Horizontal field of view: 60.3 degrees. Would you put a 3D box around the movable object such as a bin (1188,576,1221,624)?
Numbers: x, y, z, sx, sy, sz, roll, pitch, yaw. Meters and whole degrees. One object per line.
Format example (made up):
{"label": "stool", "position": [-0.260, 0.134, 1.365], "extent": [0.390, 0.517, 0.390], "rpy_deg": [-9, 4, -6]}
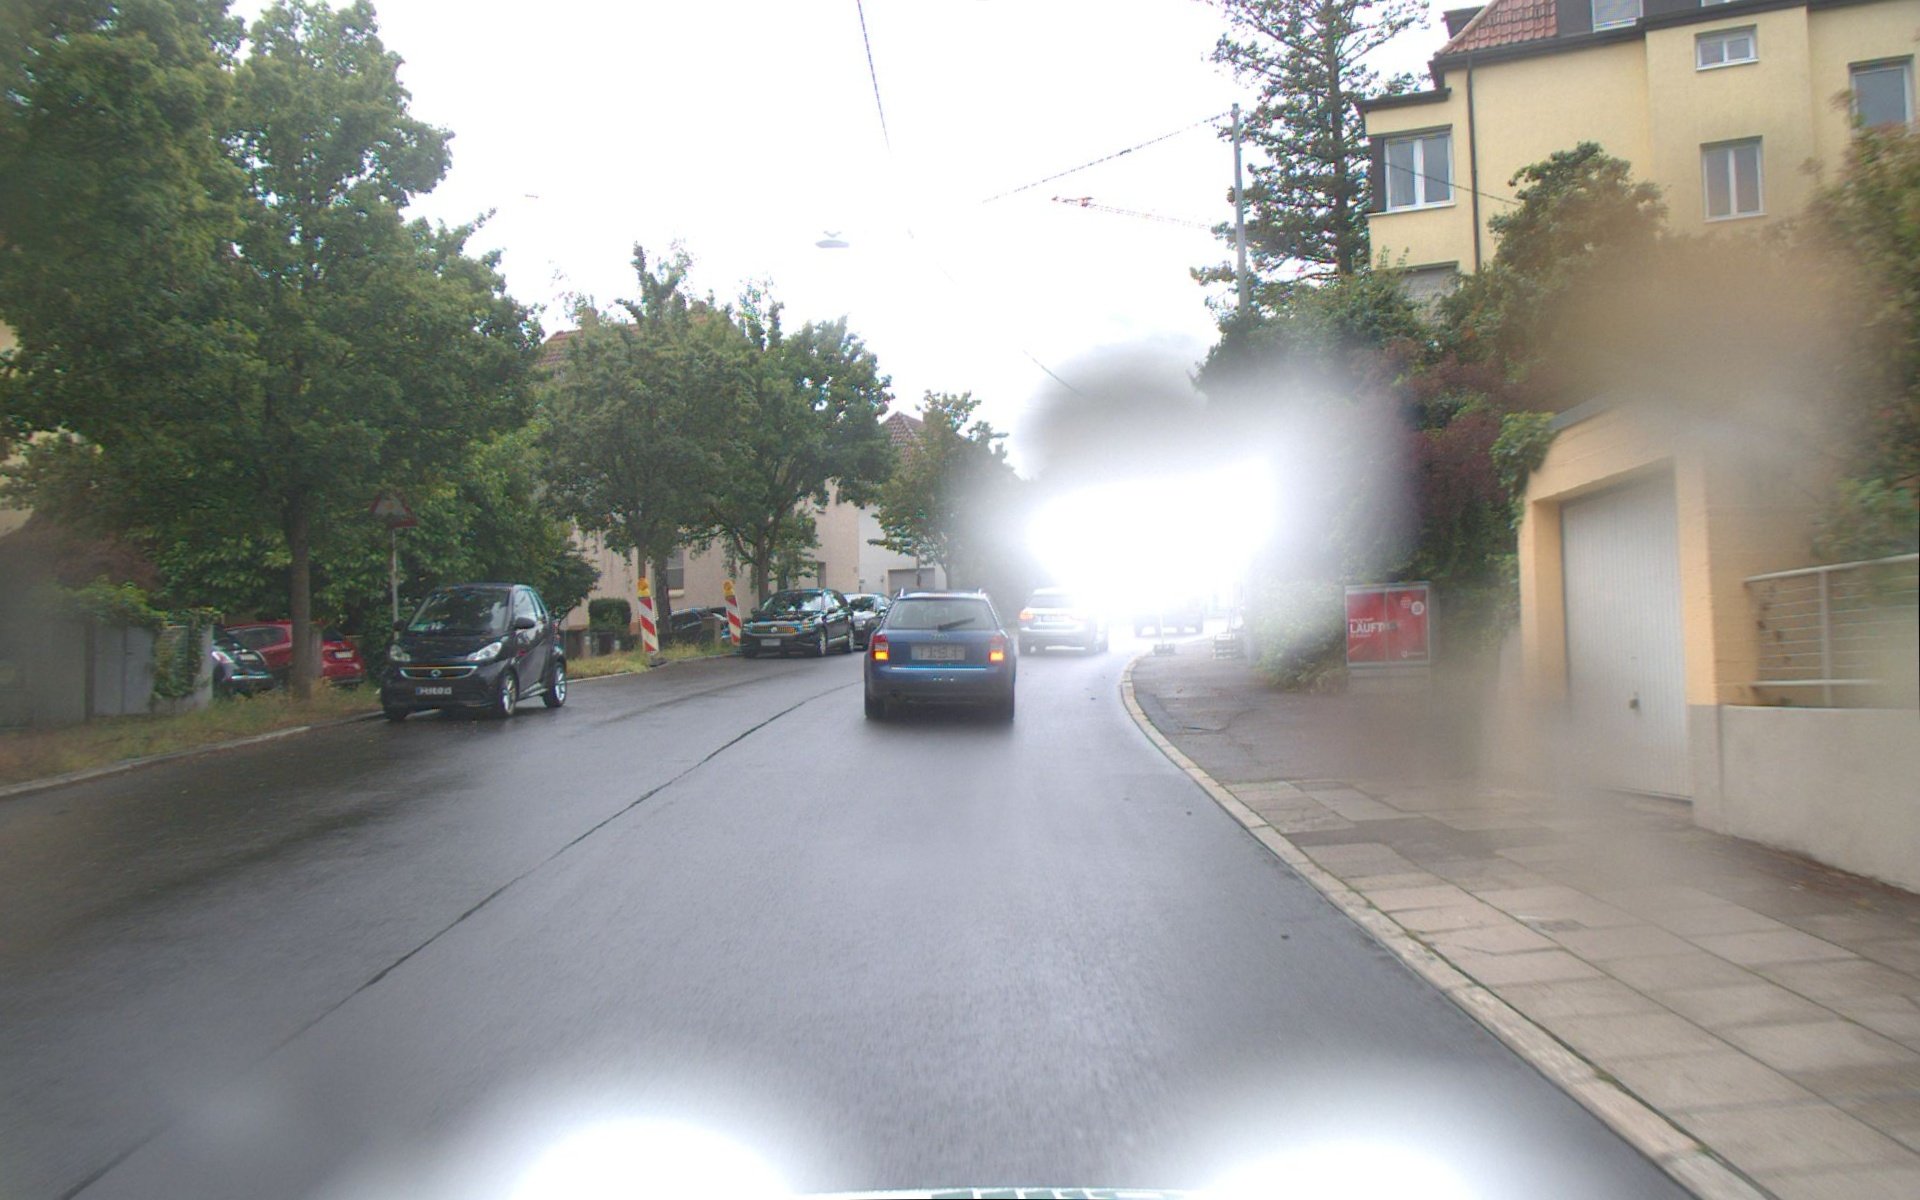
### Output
{"label": "movable object such as a bin", "position": [13.721, -0.008, 92.778], "extent": [1.287, 2.549, 1.385], "rpy_deg": [-4, -1, 27]}

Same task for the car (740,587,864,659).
{"label": "car", "position": [-3.500, 0.495, 37.408], "extent": [1.695, 1.510, 4.534], "rpy_deg": [-1, 0, 9]}

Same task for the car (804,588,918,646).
{"label": "car", "position": [-2.491, 0.420, 42.894], "extent": [1.670, 1.406, 4.534], "rpy_deg": [-1, 0, 14]}

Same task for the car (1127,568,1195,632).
{"label": "car", "position": [6.545, -0.032, 53.614], "extent": [1.694, 1.927, 4.059], "rpy_deg": [2, 1, 13]}

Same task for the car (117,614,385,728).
{"label": "car", "position": [-12.423, 1.226, 29.103], "extent": [3.837, 1.418, 1.780], "rpy_deg": [-9, -2, 7]}

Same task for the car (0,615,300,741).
{"label": "car", "position": [-12.766, 1.203, 26.107], "extent": [3.837, 1.383, 1.829], "rpy_deg": [-9, -2, 7]}

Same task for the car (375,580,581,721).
{"label": "car", "position": [-5.756, 0.563, 20.062], "extent": [1.486, 1.561, 3.037], "rpy_deg": [-1, 0, 2]}

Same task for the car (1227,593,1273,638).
{"label": "car", "position": [11.361, 0.612, 65.018], "extent": [1.683, 1.689, 3.717], "rpy_deg": [1, 0, 9]}

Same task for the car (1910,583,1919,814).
{"label": "car", "position": [5.042, 0.572, 4.256], "extent": [4.084, 1.430, 1.834], "rpy_deg": [-3, 1, 2]}

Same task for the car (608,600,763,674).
{"label": "car", "position": [-8.309, 1.123, 50.099], "extent": [4.157, 1.530, 1.913], "rpy_deg": [-10, -4, 24]}

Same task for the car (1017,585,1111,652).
{"label": "car", "position": [2.456, 0.395, 38.217], "extent": [1.868, 1.412, 4.354], "rpy_deg": [-2, 0, 7]}

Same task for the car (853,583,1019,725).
{"label": "car", "position": [-0.240, 0.553, 19.662], "extent": [1.741, 1.464, 4.000], "rpy_deg": [1, 1, 0]}
